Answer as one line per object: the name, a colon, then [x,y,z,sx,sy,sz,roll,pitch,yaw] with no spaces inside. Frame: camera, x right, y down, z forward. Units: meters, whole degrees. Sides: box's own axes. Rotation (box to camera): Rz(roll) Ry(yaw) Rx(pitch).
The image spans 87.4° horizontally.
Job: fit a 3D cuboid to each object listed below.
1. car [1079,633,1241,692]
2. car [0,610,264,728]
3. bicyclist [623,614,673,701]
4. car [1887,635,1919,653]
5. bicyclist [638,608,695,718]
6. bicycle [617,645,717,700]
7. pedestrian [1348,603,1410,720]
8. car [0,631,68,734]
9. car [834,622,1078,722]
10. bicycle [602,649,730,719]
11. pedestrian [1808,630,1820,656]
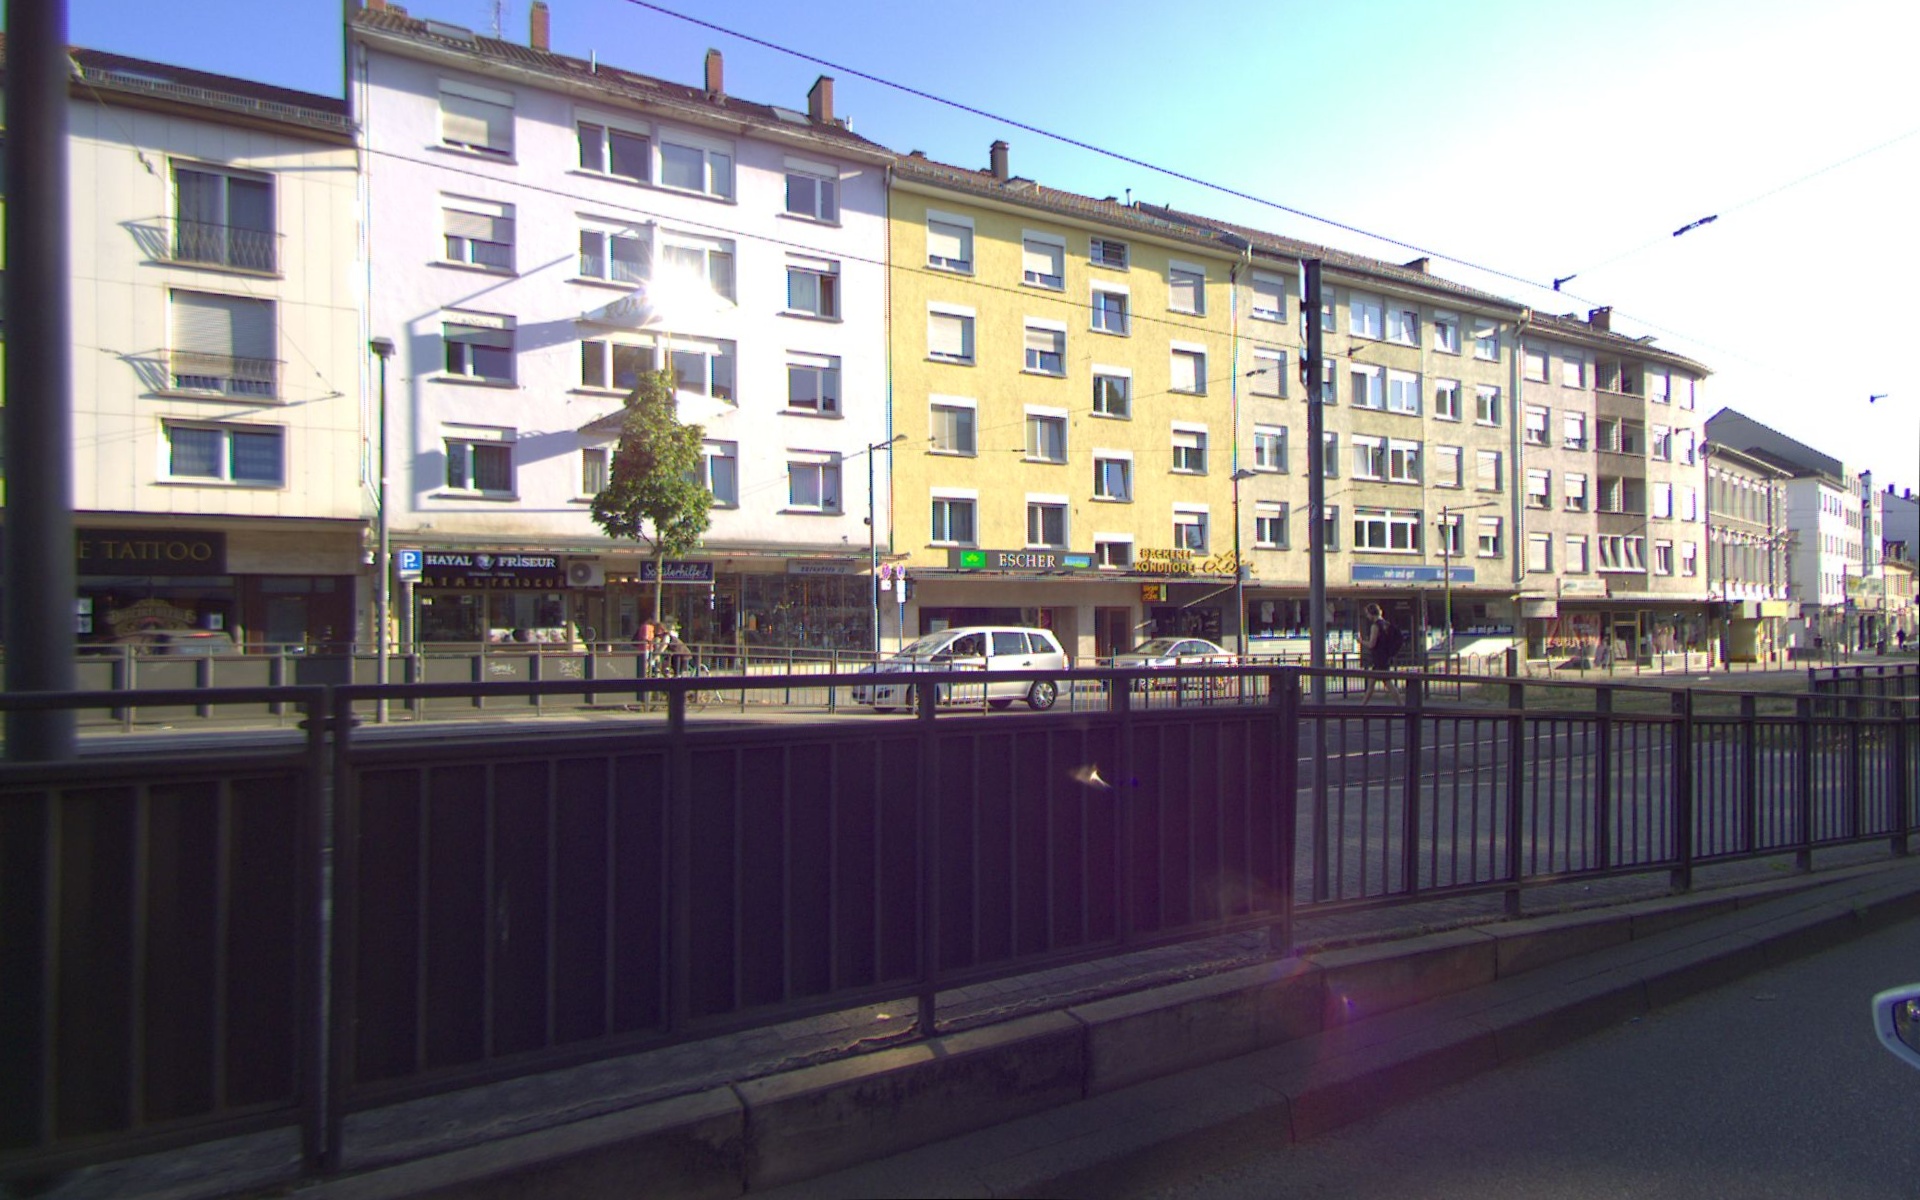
car: [5.704,1.726,28.518,4.361,1.498,1.983,1,0,-32]
car: [-14.807,1.154,17.898,3.693,1.824,1.865,2,1,10]
bicyclist: [-7.137,1.287,22.988,1.042,1.912,0.691,-1,1,-21]
car: [79.564,3.626,82.615,4.462,1.431,2.001,0,-2,18]
bicyclist: [-5.619,1.184,19.198,0.900,2.040,0.760,1,-2,-29]
bicycle: [-6.747,1.644,23.150,2.166,1.174,0.704,0,1,-21]
pedestrian: [6.954,1.006,16.672,0.583,1.873,0.737,1,-2,-34]
car: [-16.735,1.268,16.005,3.693,1.511,1.865,2,1,10]
car: [-0.049,1.311,19.521,4.384,1.739,1.984,1,-2,-30]
bicycle: [-5.598,1.567,19.201,2.251,1.246,0.715,1,-2,-30]
pedestrian: [56.649,2.842,66.617,0.502,1.736,0.423,1,-2,-32]
